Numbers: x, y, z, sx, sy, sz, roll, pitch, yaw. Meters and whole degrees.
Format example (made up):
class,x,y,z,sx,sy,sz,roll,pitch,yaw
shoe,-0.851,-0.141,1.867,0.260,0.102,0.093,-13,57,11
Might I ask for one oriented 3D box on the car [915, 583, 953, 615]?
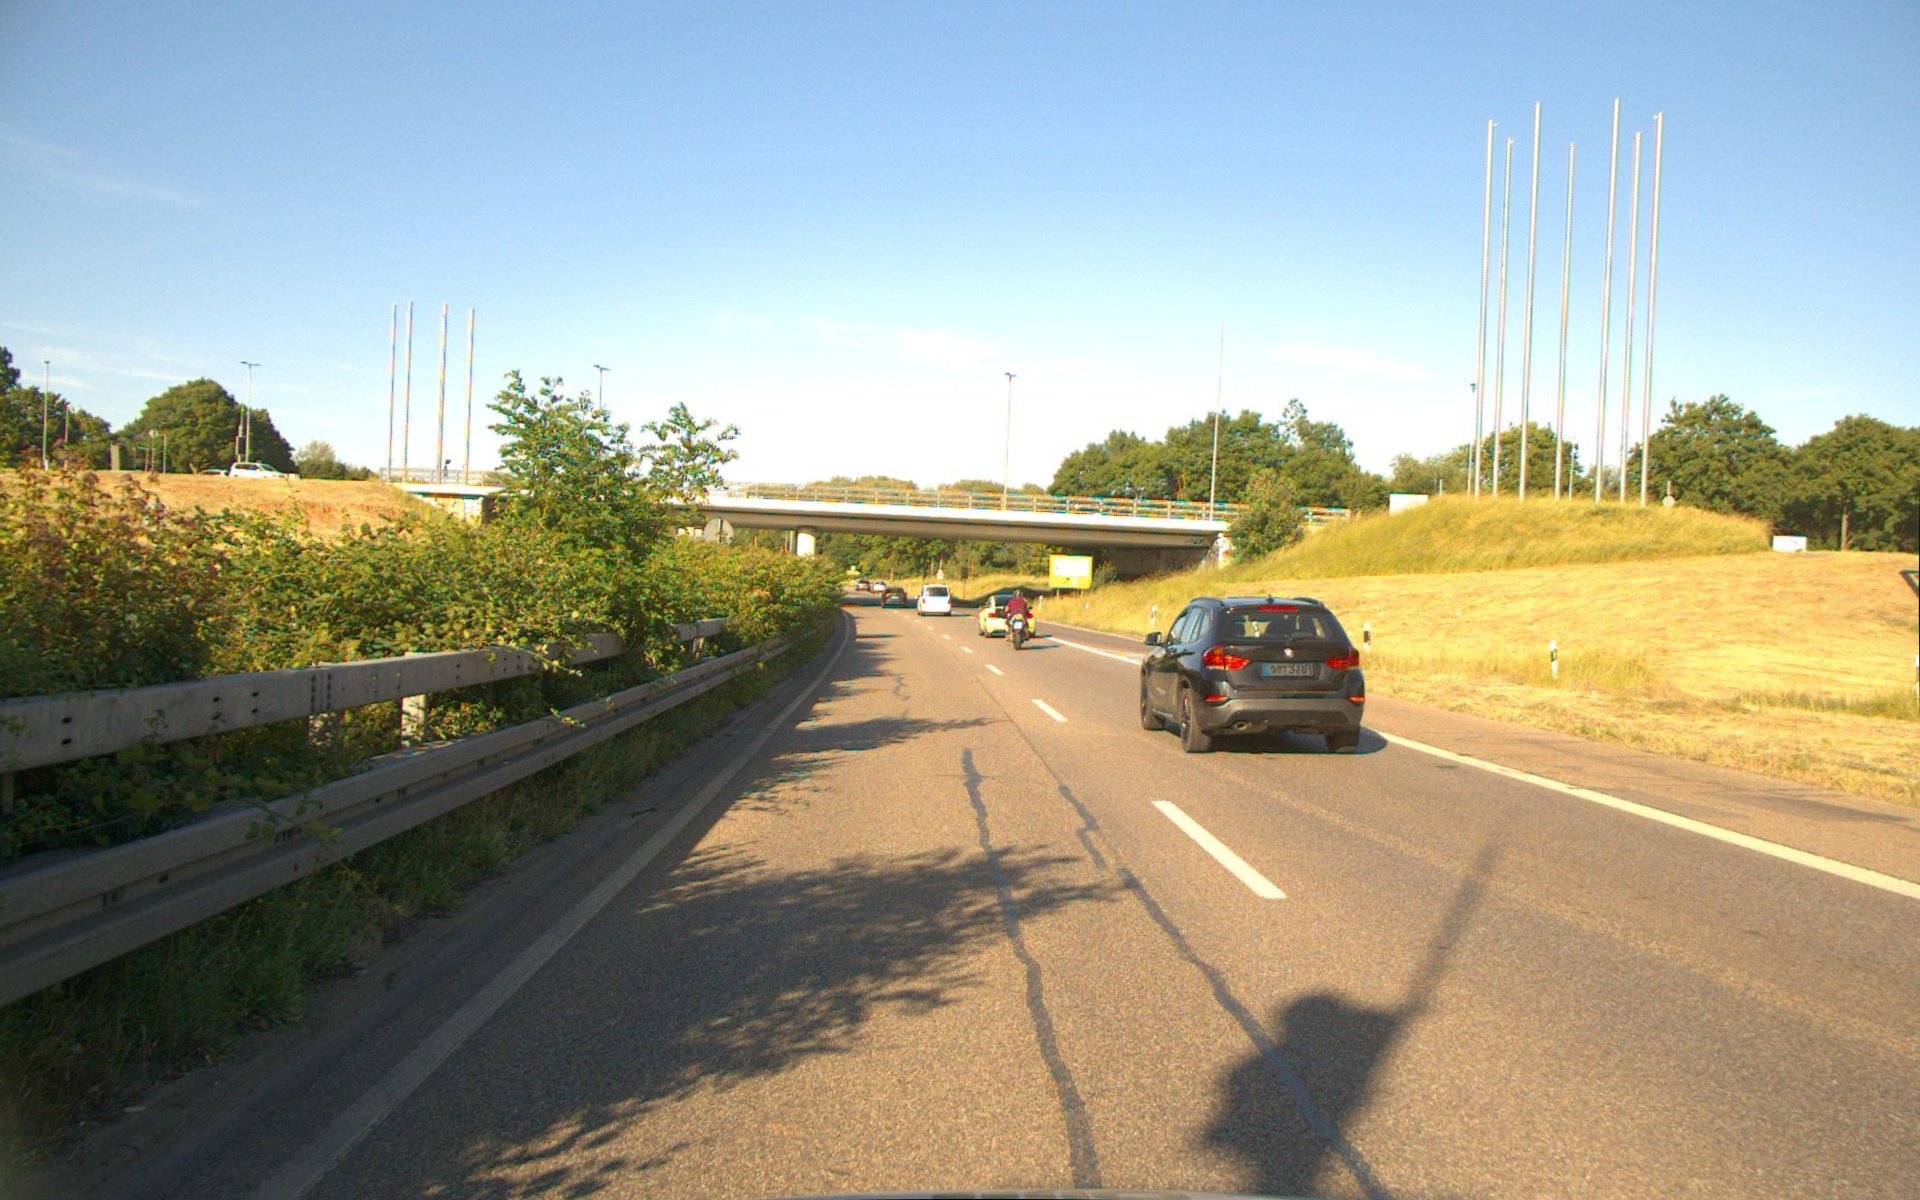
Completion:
class,x,y,z,sx,sy,sz,roll,pitch,yaw
car,-1.517,-0.089,95.290,1.860,1.798,3.995,0,0,-6

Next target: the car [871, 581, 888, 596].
class,x,y,z,sx,sy,sz,roll,pitch,yaw
car,-9.445,-1.352,193.412,1.832,1.714,3.997,2,0,-3

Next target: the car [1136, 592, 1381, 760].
class,x,y,z,sx,sy,sz,roll,pitch,yaw
car,3.070,0.709,17.938,1.664,1.532,4.577,1,1,-2

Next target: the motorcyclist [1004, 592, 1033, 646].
class,x,y,z,sx,sy,sz,roll,pitch,yaw
motorcyclist,1.645,0.530,46.727,0.800,1.472,1.094,1,0,1

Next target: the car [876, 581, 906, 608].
class,x,y,z,sx,sy,sz,roll,pitch,yaw
car,-4.869,-0.398,116.412,1.860,1.798,3.996,0,1,-5

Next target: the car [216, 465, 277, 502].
class,x,y,z,sx,sy,sz,roll,pitch,yaw
car,-58.093,-9.490,134.717,4.219,2.854,2.082,2,1,19

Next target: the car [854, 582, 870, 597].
class,x,y,z,sx,sy,sz,roll,pitch,yaw
car,-12.493,-1.337,211.055,1.833,1.714,3.995,2,0,-6

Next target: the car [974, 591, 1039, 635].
class,x,y,z,sx,sy,sz,roll,pitch,yaw
car,1.613,0.430,59.119,1.860,1.496,3.995,0,0,-5

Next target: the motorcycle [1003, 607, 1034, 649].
class,x,y,z,sx,sy,sz,roll,pitch,yaw
motorcycle,1.637,0.768,46.725,0.800,1.088,2.836,1,1,1
